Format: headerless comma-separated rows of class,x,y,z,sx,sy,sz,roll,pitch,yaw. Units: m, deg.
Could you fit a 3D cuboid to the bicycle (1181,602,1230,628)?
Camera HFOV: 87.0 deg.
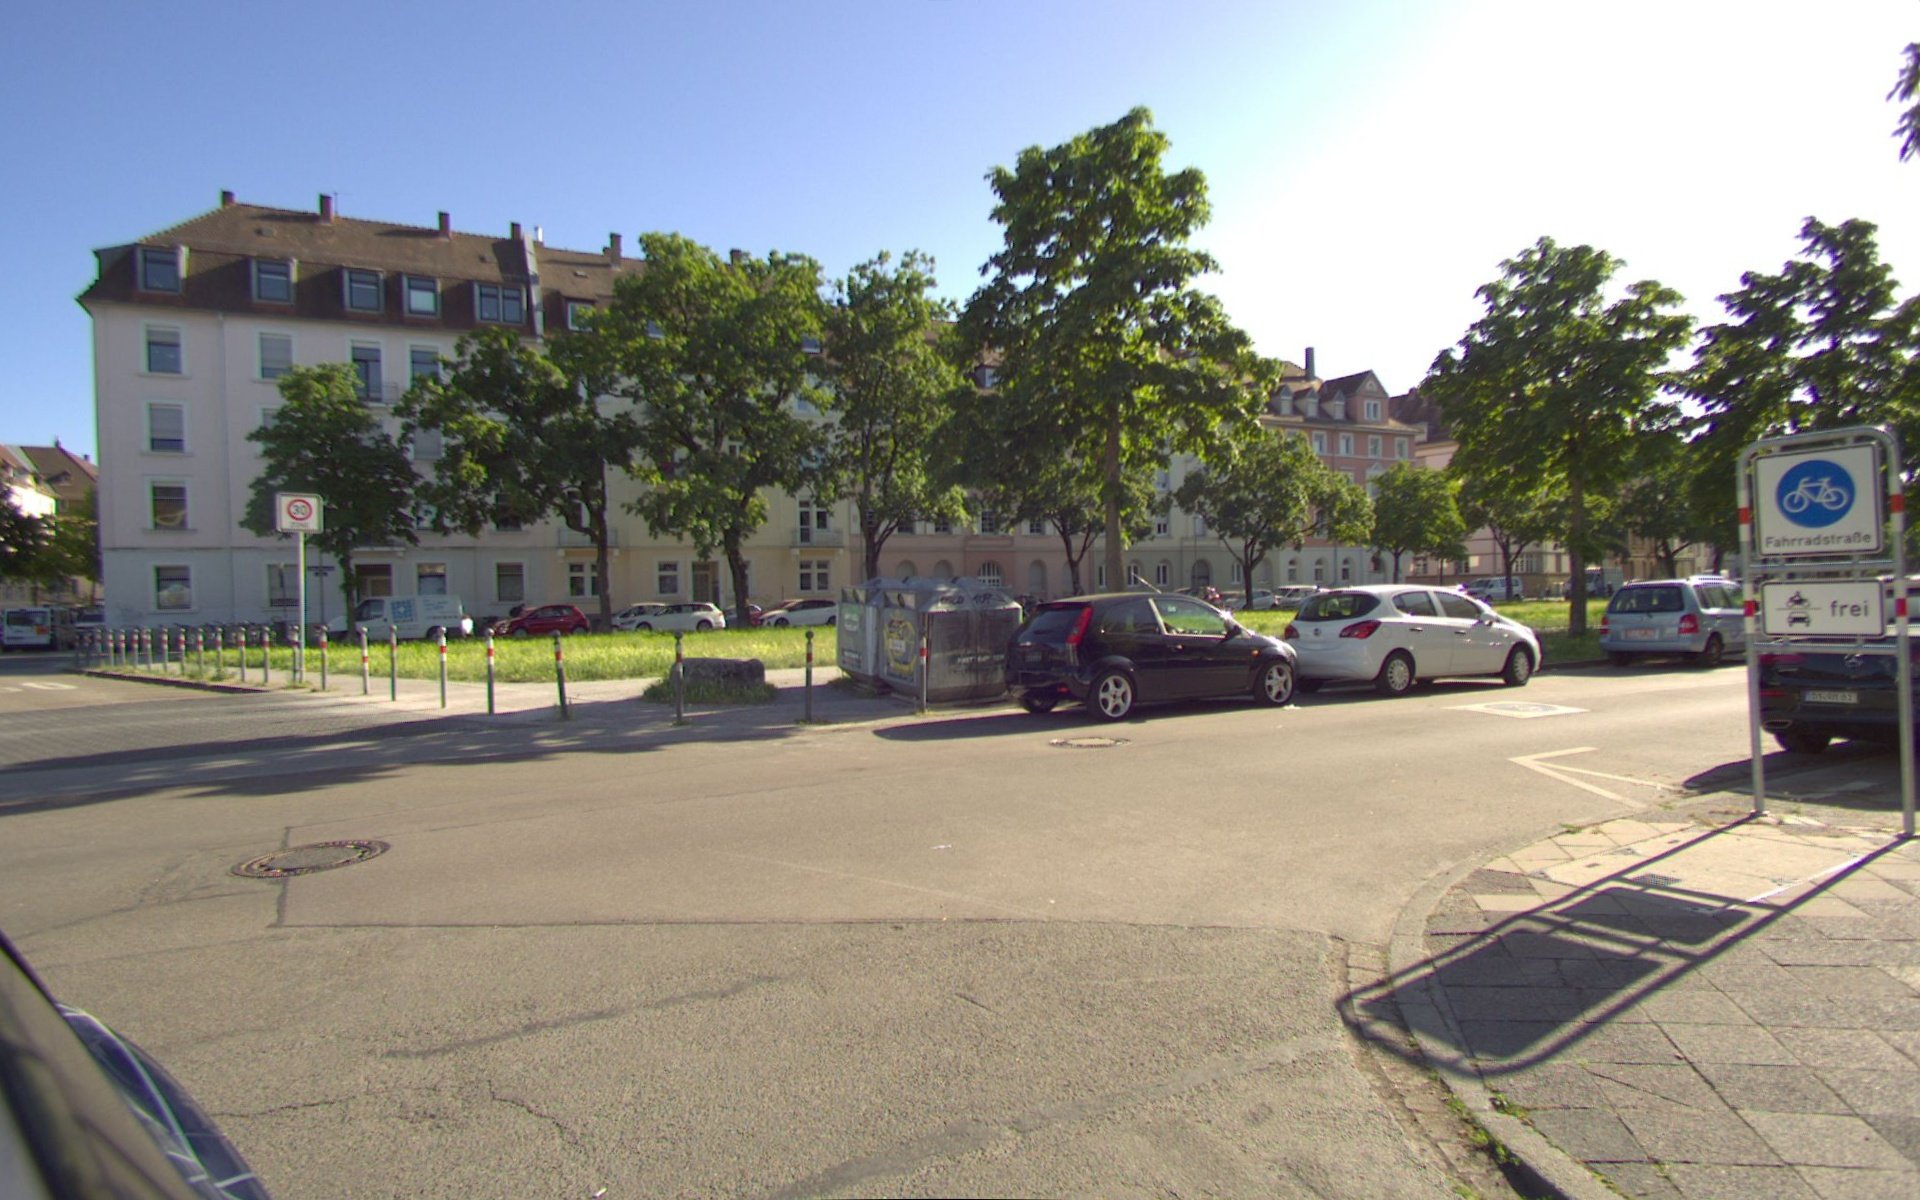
bicycle,12.874,0.753,53.040,2.589,1.261,0.815,-2,0,-29

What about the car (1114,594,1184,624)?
car,11.968,0.567,63.994,3.957,1.765,1.954,-2,0,-28

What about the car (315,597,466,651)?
car,-22.242,0.908,39.677,5.011,1.886,2.095,-2,0,-30

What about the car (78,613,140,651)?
car,-48.287,1.748,57.514,1.966,1.988,5.068,-2,0,-32

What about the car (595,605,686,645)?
car,-15.576,1.184,49.405,3.931,1.770,1.875,-2,0,-28

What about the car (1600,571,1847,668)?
car,13.353,0.289,17.684,4.055,1.472,1.791,-2,0,-26

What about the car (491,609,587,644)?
car,-17.396,1.053,41.817,3.466,1.289,1.705,-2,0,-30

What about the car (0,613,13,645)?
car,-56.889,1.722,57.864,3.650,1.848,1.962,-2,0,-32

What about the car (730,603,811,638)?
car,-9.301,0.987,49.738,3.530,1.614,1.787,-2,0,-28

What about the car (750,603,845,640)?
car,-7.540,0.982,47.095,4.011,1.538,1.705,-2,0,-30

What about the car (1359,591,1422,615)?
car,28.128,0.193,66.150,3.709,1.451,1.858,-2,0,-27

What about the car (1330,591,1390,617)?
car,28.741,0.262,72.735,3.931,1.762,1.872,-2,0,-28

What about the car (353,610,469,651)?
car,-24.220,1.303,44.652,4.377,1.598,2.006,-2,0,-31

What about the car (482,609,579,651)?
car,-20.009,1.357,47.123,3.984,1.765,2.006,-2,0,-27

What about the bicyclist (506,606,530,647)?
bicyclist,-18.874,1.132,43.239,0.864,1.703,0.634,-2,0,-28

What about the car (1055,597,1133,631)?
car,7.296,0.724,54.938,4.011,1.699,1.642,-2,0,-30

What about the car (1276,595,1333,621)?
car,21.208,0.492,62.310,3.284,1.451,1.389,-2,0,-26

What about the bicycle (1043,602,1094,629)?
bicycle,5.403,0.768,50.229,2.591,1.261,0.815,-2,0,-36

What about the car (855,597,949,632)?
car,-2.811,0.692,49.374,4.280,1.561,1.642,-2,0,-30

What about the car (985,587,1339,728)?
car,2.433,0.626,12.173,3.848,1.435,1.759,-1,-2,-26

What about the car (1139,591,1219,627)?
car,12.533,0.512,57.740,4.385,1.922,1.747,-2,0,-30

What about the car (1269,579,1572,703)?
car,6.426,0.521,14.120,3.808,1.506,1.788,-1,-2,-26

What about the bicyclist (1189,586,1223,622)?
bicyclist,12.895,0.224,53.035,1.424,1.851,0.947,-1,-1,-29

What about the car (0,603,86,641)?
car,-65.072,1.525,71.365,4.872,2.538,1.962,-2,0,-32

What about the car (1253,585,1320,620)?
car,22.378,0.154,69.369,4.387,2.276,1.787,-2,0,-29

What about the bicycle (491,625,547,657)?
bicycle,-18.853,1.727,43.234,2.117,1.268,0.717,-2,0,-28

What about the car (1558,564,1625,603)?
car,47.837,-1.263,76.623,5.529,2.764,1.928,-2,0,-30

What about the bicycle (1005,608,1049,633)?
bicycle,3.101,0.931,46.927,1.922,1.087,0.737,-2,0,-29

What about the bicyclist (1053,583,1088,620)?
bicyclist,5.512,0.074,50.454,1.425,1.851,0.947,0,-1,-34

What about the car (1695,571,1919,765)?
car,8.511,0.434,8.294,4.428,1.348,2.139,-2,-2,-26

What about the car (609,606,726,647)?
car,-12.790,1.128,44.272,4.617,1.573,1.705,-2,0,-30

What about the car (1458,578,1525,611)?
car,37.141,-0.403,70.693,4.923,2.230,1.705,-1,0,-30

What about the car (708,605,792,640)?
car,-10.781,1.150,51.856,3.794,1.627,1.897,-2,0,-28

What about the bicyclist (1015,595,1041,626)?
bicyclist,3.175,0.487,46.952,0.926,1.448,0.742,-1,-1,-28

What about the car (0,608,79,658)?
car,-40.257,1.379,43.991,2.104,2.029,4.590,-2,0,-31

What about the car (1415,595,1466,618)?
car,32.224,0.415,67.901,3.176,1.451,1.527,-2,0,-30

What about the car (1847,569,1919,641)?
car,21.779,0.050,22.353,4.055,1.511,1.845,-2,0,-26

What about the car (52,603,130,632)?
car,-75.806,1.498,88.375,4.872,2.413,1.962,-2,0,-32

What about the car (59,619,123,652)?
car,-45.665,1.846,53.249,1.905,1.580,3.894,-2,0,-31

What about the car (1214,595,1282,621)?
car,17.132,0.465,60.159,3.709,1.440,1.705,-2,0,-26
